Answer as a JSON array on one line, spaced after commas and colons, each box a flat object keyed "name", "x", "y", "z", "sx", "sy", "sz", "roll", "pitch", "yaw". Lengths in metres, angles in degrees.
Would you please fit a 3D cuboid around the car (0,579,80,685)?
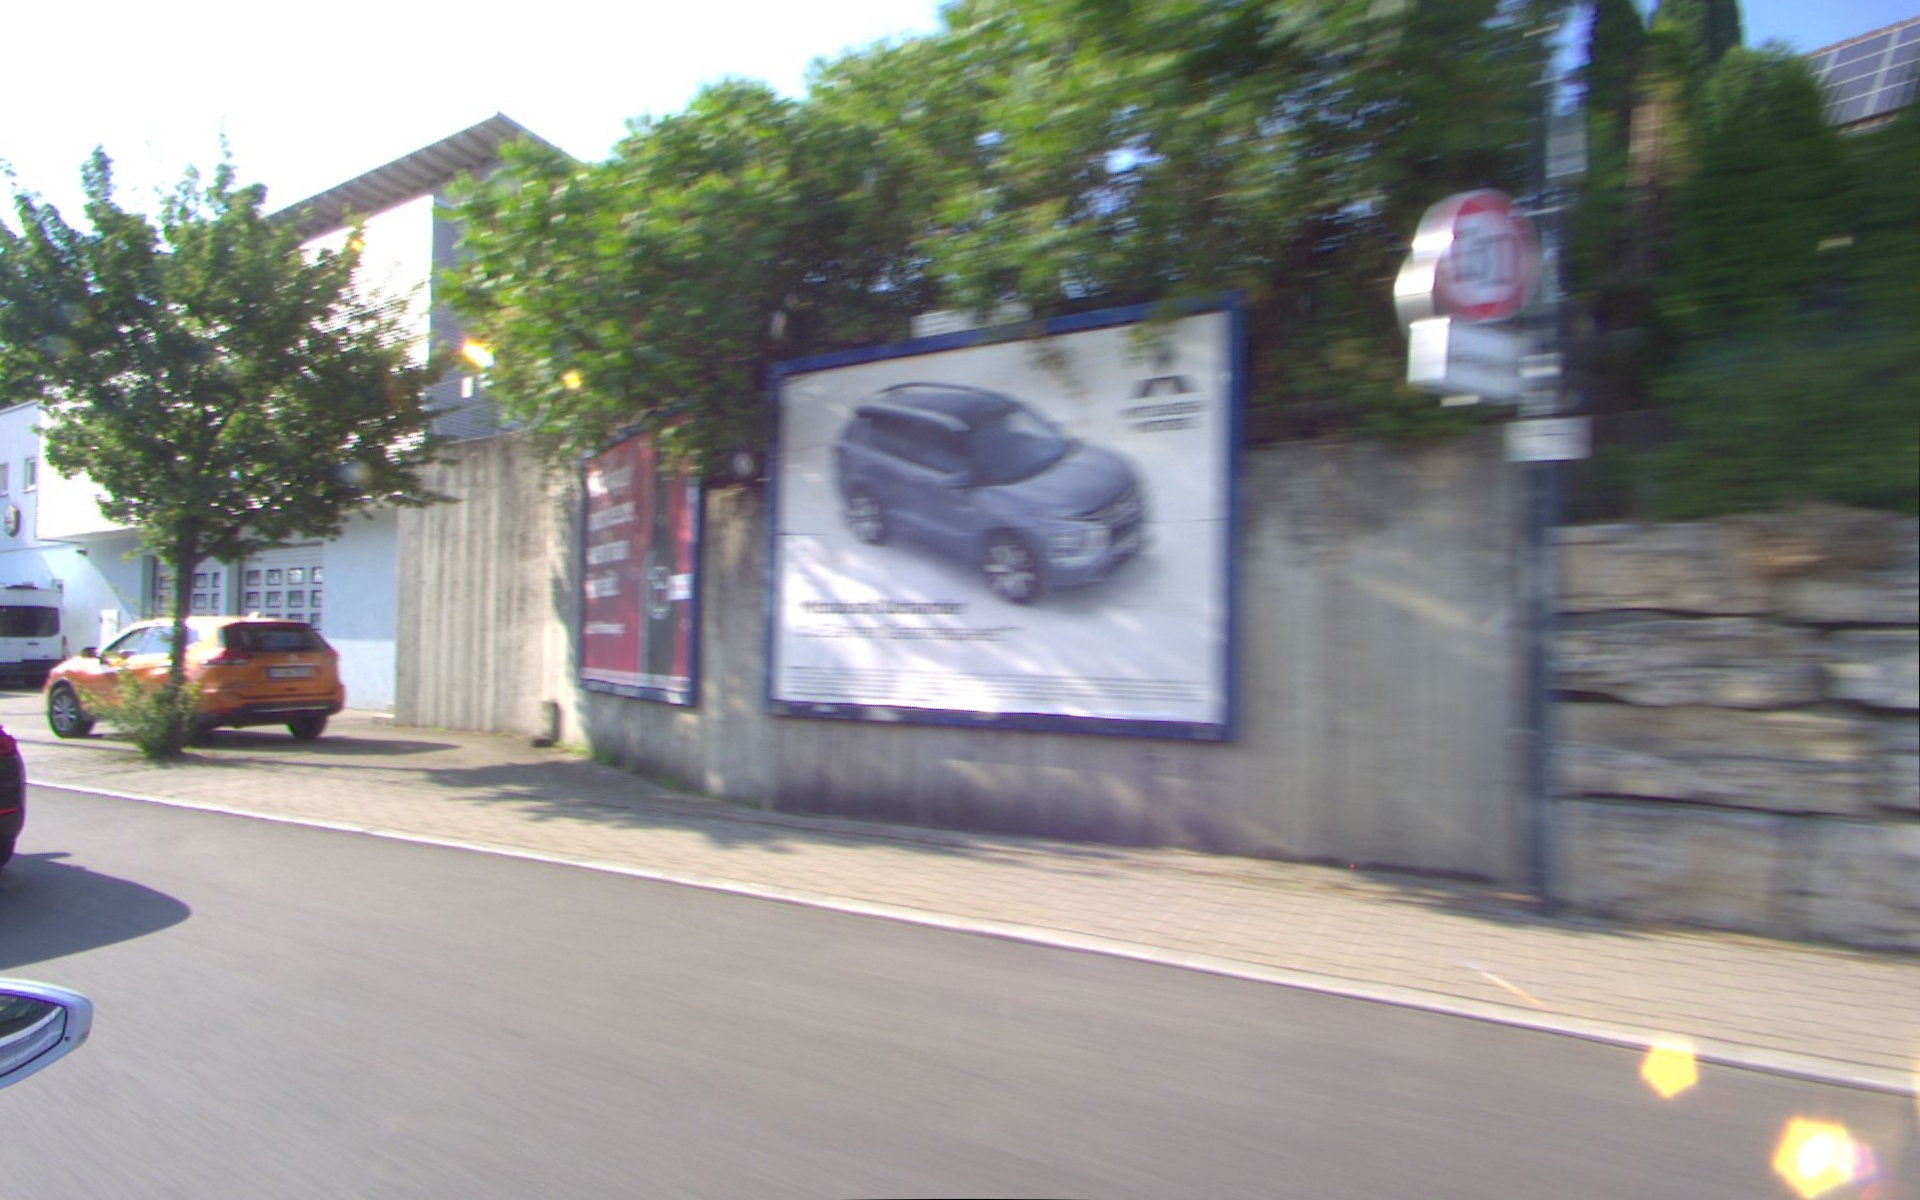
[{"name": "car", "x": -27.474, "y": 0.868, "z": 28.251, "sx": 6.347, "sy": 2.757, "sz": 2.109, "roll": 0, "pitch": -1, "yaw": 31}]

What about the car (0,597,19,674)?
[{"name": "car", "x": -32.145, "y": 1.037, "z": 29.552, "sx": 2.013, "sy": 2.393, "sz": 6.038, "roll": 0, "pitch": -2, "yaw": 30}]

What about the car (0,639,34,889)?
[{"name": "car", "x": -7.509, "y": 0.908, "z": 6.009, "sx": 4.198, "sy": 1.386, "sz": 1.698, "roll": 0, "pitch": -1, "yaw": 30}]

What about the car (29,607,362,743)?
[{"name": "car", "x": -10.747, "y": 0.970, "z": 14.053, "sx": 4.464, "sy": 1.670, "sz": 1.835, "roll": 0, "pitch": -2, "yaw": 25}]
